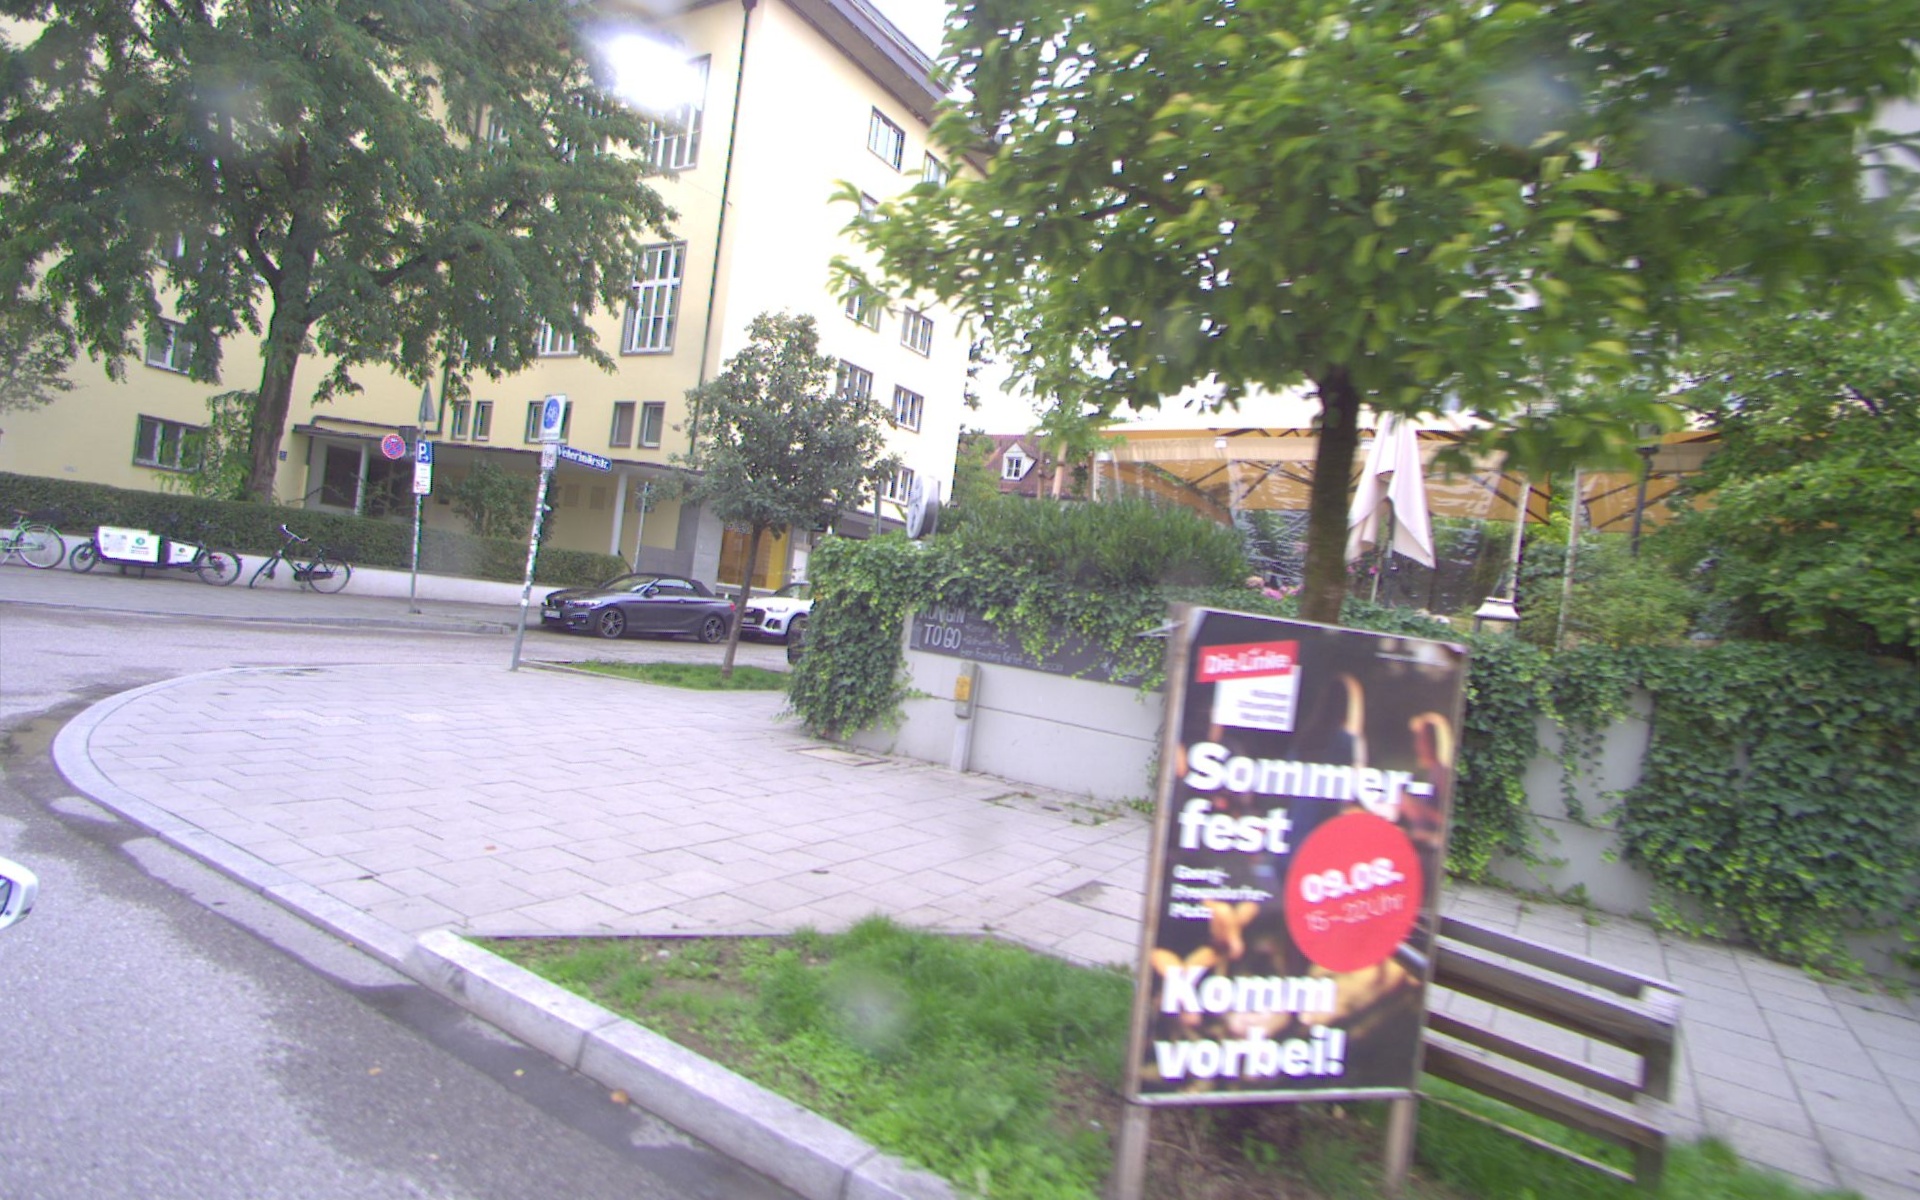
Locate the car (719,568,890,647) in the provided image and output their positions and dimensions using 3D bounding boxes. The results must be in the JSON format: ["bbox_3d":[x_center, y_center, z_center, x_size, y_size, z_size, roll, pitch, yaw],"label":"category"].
[{"bbox_3d":[-3.880,0.239,25.785,1.820,1.654,4.270,6,0,34],"label":"car"}]

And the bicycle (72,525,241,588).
[{"bbox_3d":[-13.843,-0.742,17.433,2.197,0.788,0.604,7,0,-36],"label":"bicycle"}]

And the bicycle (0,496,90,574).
[{"bbox_3d":[-15.874,-1.149,16.654,2.179,1.131,0.609,7,1,-7],"label":"bicycle"}]

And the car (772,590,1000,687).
[{"bbox_3d":[-1.186,0.710,18.298,1.819,1.349,4.368,8,2,32],"label":"car"}]

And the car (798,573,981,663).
[{"bbox_3d":[-1.539,0.474,23.623,1.968,1.716,4.368,8,2,32],"label":"car"}]

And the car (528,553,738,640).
[{"bbox_3d":[-6.786,-0.031,21.220,1.581,1.453,3.976,6,0,35],"label":"car"}]

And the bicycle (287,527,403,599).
[{"bbox_3d":[-11.918,-0.693,19.547,0.601,1.164,1.734,8,0,38],"label":"bicycle"}]
